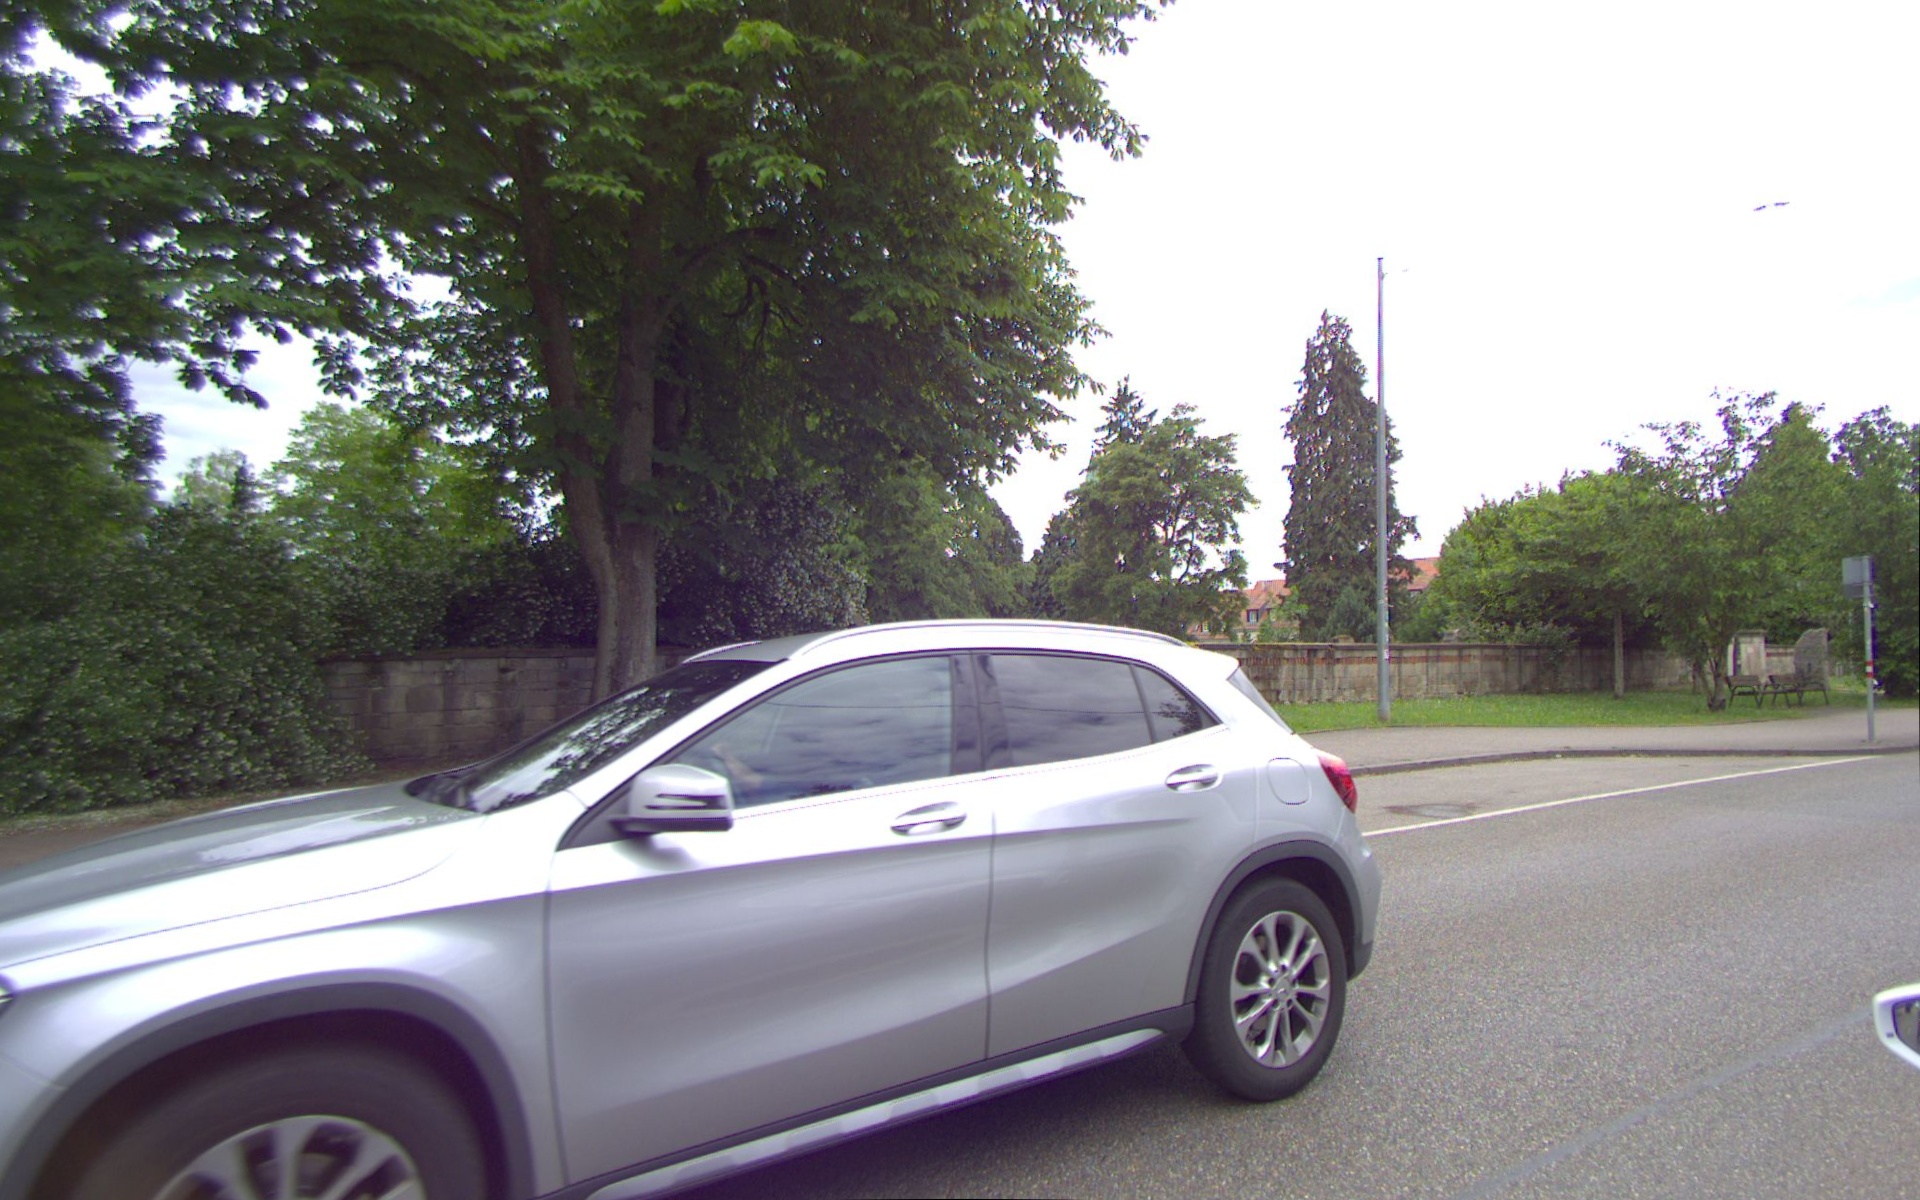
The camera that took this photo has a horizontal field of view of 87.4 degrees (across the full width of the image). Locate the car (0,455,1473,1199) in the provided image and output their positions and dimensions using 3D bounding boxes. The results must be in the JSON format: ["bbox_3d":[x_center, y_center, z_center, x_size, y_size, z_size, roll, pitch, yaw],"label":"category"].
[{"bbox_3d":[-0.411,0.723,3.231,4.075,1.675,1.776,2,-5,-32],"label":"car"}]
